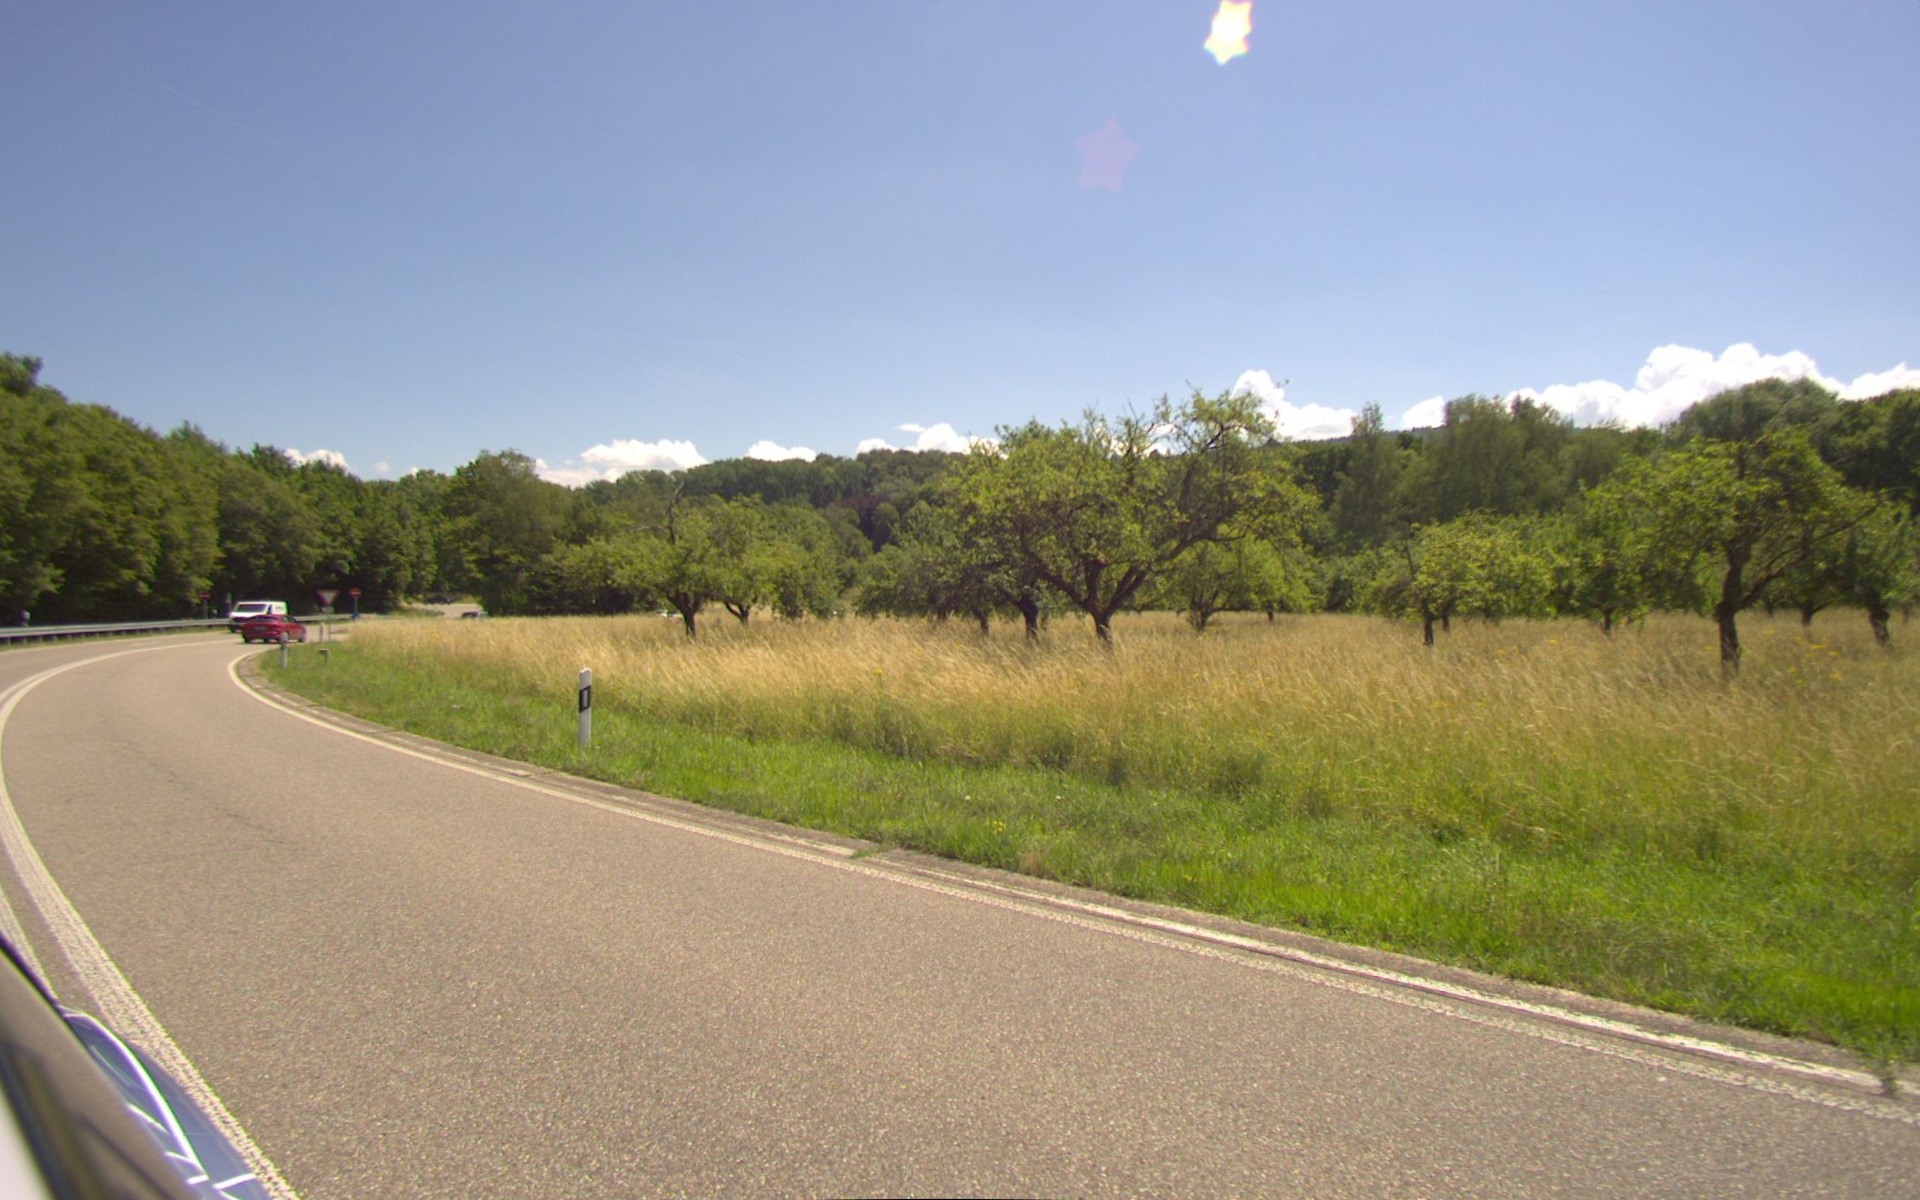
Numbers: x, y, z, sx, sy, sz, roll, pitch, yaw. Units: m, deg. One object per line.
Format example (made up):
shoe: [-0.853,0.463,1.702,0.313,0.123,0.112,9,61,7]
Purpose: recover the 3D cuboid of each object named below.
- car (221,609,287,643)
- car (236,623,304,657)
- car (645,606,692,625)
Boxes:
car: [-45.419,1.655,65.279,2.187,2.048,5.444,-1,0,-21]
car: [-34.107,1.941,50.149,1.796,1.469,4.414,4,-2,-22]
car: [-27.741,1.510,96.484,1.822,1.602,4.172,2,-2,31]
